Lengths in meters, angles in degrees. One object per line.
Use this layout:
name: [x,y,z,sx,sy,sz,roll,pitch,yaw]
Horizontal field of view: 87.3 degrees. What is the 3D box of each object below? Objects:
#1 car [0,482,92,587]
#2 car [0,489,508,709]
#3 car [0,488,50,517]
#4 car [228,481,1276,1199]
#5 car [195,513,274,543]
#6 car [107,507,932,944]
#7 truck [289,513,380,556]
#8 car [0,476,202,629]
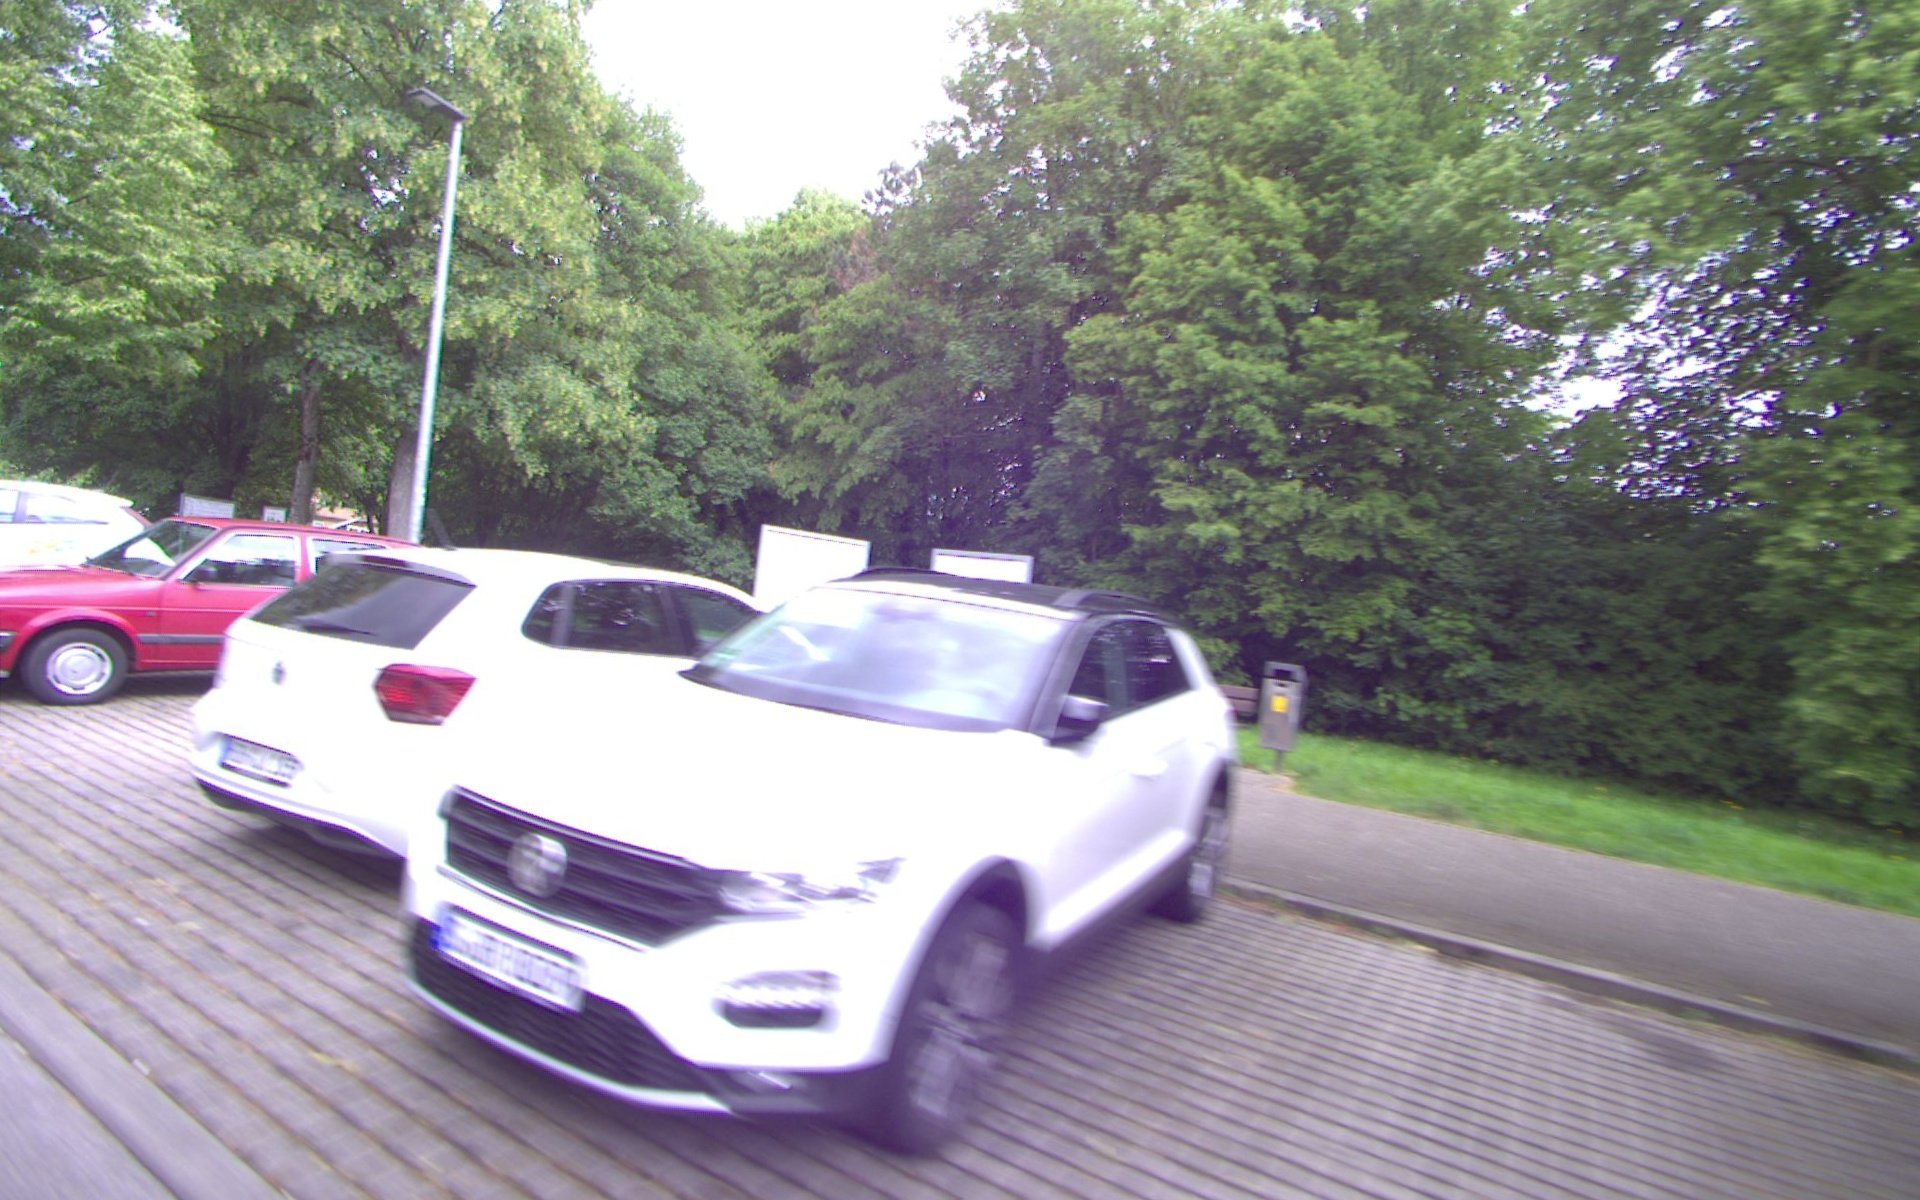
car: [-15.455,-1.135,14.179,1.816,1.473,4.488,7,1,32]
car: [-6.219,-0.008,8.452,1.786,1.440,4.058,7,1,30]
car: [-60.333,-6.271,63.198,1.678,1.445,4.391,6,-1,38]
car: [-0.158,0.642,4.097,1.829,1.567,4.118,7,1,29]
car: [-52.671,-5.230,73.129,1.678,1.544,4.281,6,-1,39]
car: [-1.935,0.491,5.711,1.760,1.440,4.015,7,1,27]
truck: [-48.675,-5.071,78.376,2.160,2.455,5.504,6,-1,38]
car: [-10.874,-0.613,10.877,1.851,1.535,3.840,7,1,34]
